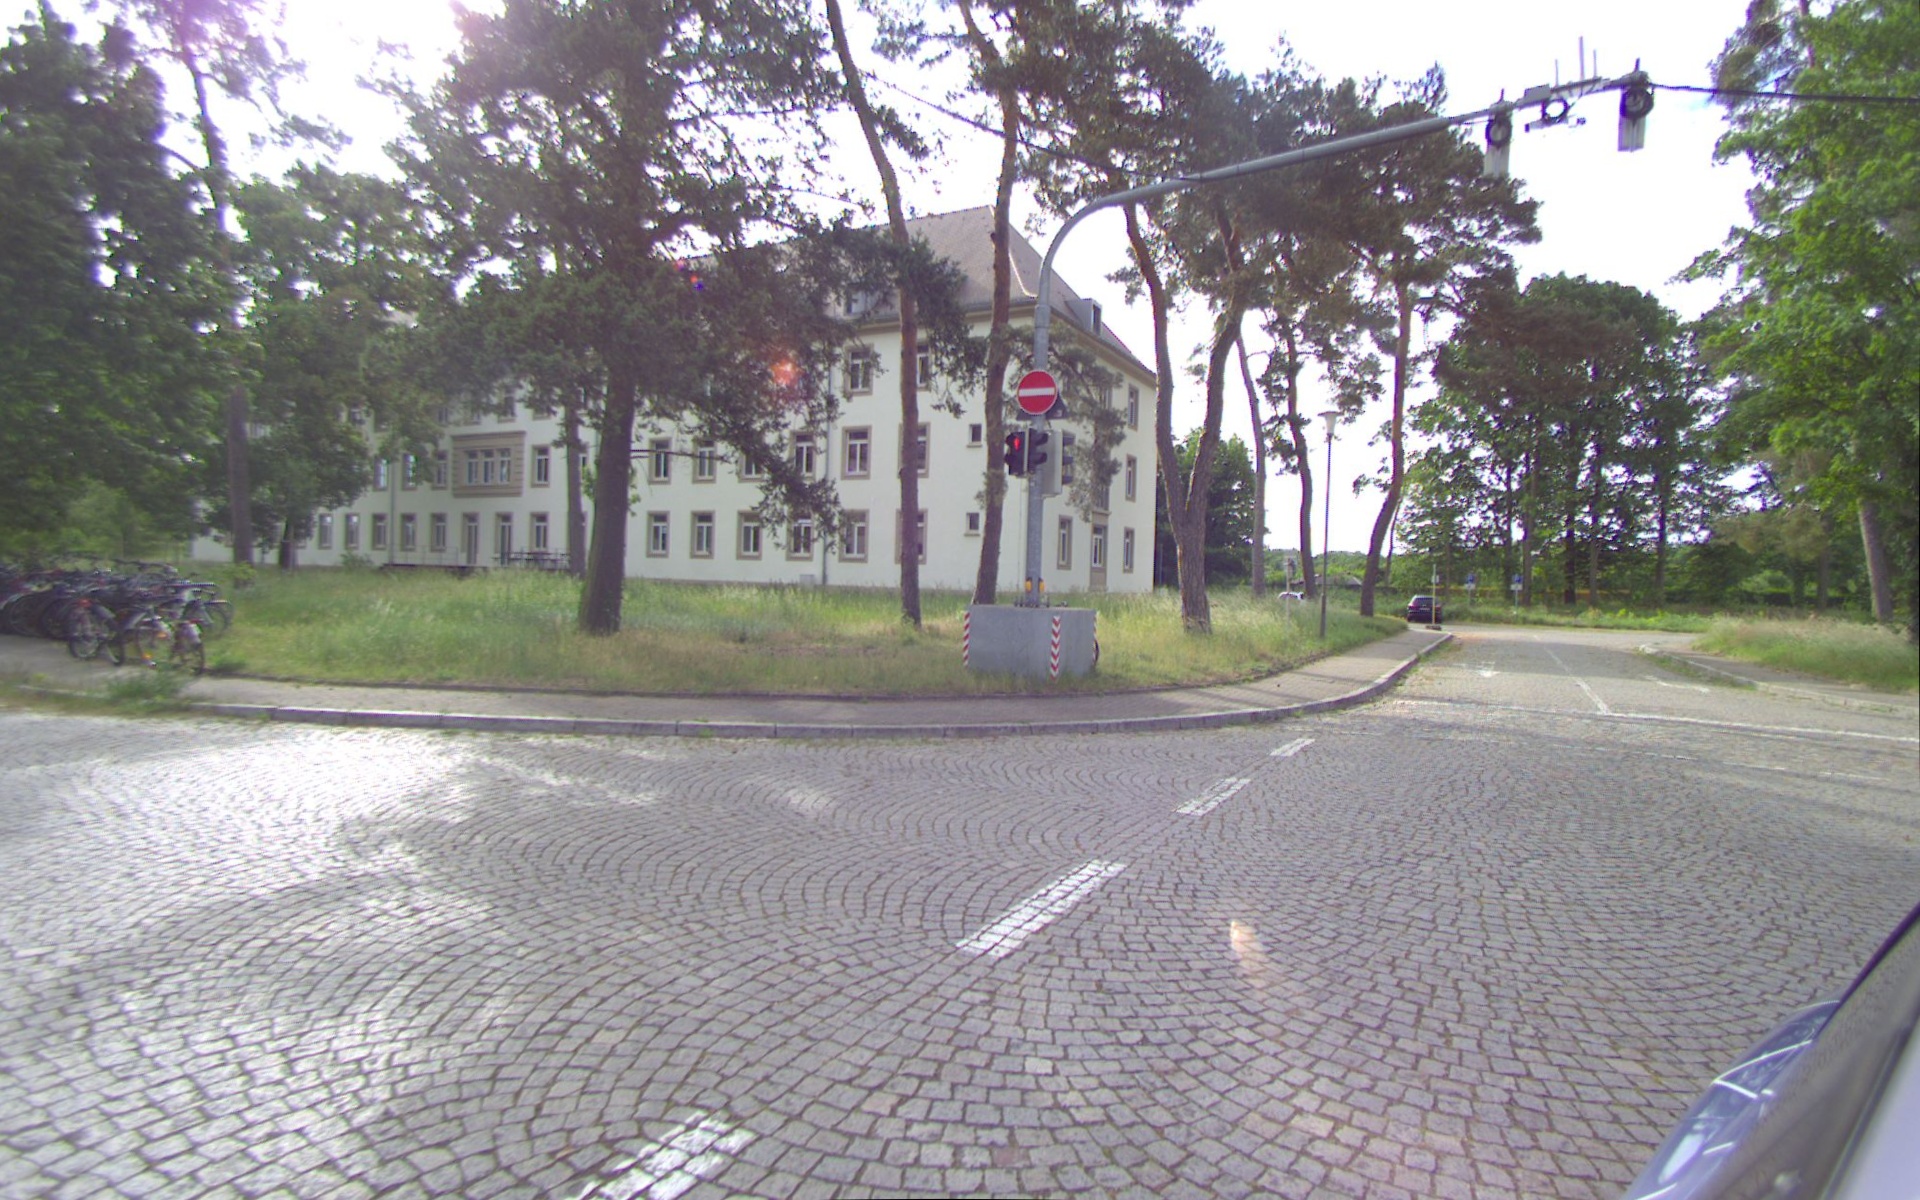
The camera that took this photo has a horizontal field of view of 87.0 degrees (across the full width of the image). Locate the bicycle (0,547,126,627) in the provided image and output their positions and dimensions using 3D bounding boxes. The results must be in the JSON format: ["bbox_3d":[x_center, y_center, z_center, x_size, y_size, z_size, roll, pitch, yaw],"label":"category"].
[{"bbox_3d":[-16.858,-0.250,18.313,0.942,1.389,2.551,2,1,27],"label":"bicycle"}]

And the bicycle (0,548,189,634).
[{"bbox_3d":[-15.228,-0.168,17.572,0.942,1.389,2.784,2,1,28],"label":"bicycle"}]

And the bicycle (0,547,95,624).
[{"bbox_3d":[-17.659,-0.277,18.579,0.942,1.389,2.551,2,1,27],"label":"bicycle"}]

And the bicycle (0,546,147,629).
[{"bbox_3d":[-16.127,-0.226,17.915,0.942,1.389,2.551,2,1,27],"label":"bicycle"}]

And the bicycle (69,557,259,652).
[{"bbox_3d":[-12.067,0.047,15.428,0.866,1.322,2.099,2,1,28],"label":"bicycle"}]

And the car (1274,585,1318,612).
[{"bbox_3d":[20.352,-0.110,61.249,1.758,1.552,3.655,2,1,30],"label":"car"}]

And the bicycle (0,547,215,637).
[{"bbox_3d":[-14.444,-0.143,17.162,0.942,1.389,2.784,2,1,28],"label":"bicycle"}]

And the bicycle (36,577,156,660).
[{"bbox_3d":[-11.621,0.218,13.593,1.965,1.009,0.721,2,1,34],"label":"bicycle"}]

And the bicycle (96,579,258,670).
[{"bbox_3d":[-9.781,0.277,12.637,1.961,1.009,0.894,2,1,29],"label":"bicycle"}]

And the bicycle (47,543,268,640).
[{"bbox_3d":[-12.499,-0.146,15.891,0.866,1.384,2.602,2,1,28],"label":"bicycle"}]

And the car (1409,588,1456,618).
[{"bbox_3d":[26.567,0.139,56.842,1.984,1.552,3.957,2,1,30],"label":"car"}]

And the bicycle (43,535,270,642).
[{"bbox_3d":[-13.084,-0.194,16.618,0.942,1.603,2.784,2,1,28],"label":"bicycle"}]

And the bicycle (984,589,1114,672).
[{"bbox_3d":[1.299,0.415,14.906,1.816,1.075,0.641,2,5,27],"label":"bicycle"}]

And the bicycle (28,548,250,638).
[{"bbox_3d":[-13.828,-0.123,17.186,0.942,1.389,2.784,2,1,28],"label":"bicycle"}]
